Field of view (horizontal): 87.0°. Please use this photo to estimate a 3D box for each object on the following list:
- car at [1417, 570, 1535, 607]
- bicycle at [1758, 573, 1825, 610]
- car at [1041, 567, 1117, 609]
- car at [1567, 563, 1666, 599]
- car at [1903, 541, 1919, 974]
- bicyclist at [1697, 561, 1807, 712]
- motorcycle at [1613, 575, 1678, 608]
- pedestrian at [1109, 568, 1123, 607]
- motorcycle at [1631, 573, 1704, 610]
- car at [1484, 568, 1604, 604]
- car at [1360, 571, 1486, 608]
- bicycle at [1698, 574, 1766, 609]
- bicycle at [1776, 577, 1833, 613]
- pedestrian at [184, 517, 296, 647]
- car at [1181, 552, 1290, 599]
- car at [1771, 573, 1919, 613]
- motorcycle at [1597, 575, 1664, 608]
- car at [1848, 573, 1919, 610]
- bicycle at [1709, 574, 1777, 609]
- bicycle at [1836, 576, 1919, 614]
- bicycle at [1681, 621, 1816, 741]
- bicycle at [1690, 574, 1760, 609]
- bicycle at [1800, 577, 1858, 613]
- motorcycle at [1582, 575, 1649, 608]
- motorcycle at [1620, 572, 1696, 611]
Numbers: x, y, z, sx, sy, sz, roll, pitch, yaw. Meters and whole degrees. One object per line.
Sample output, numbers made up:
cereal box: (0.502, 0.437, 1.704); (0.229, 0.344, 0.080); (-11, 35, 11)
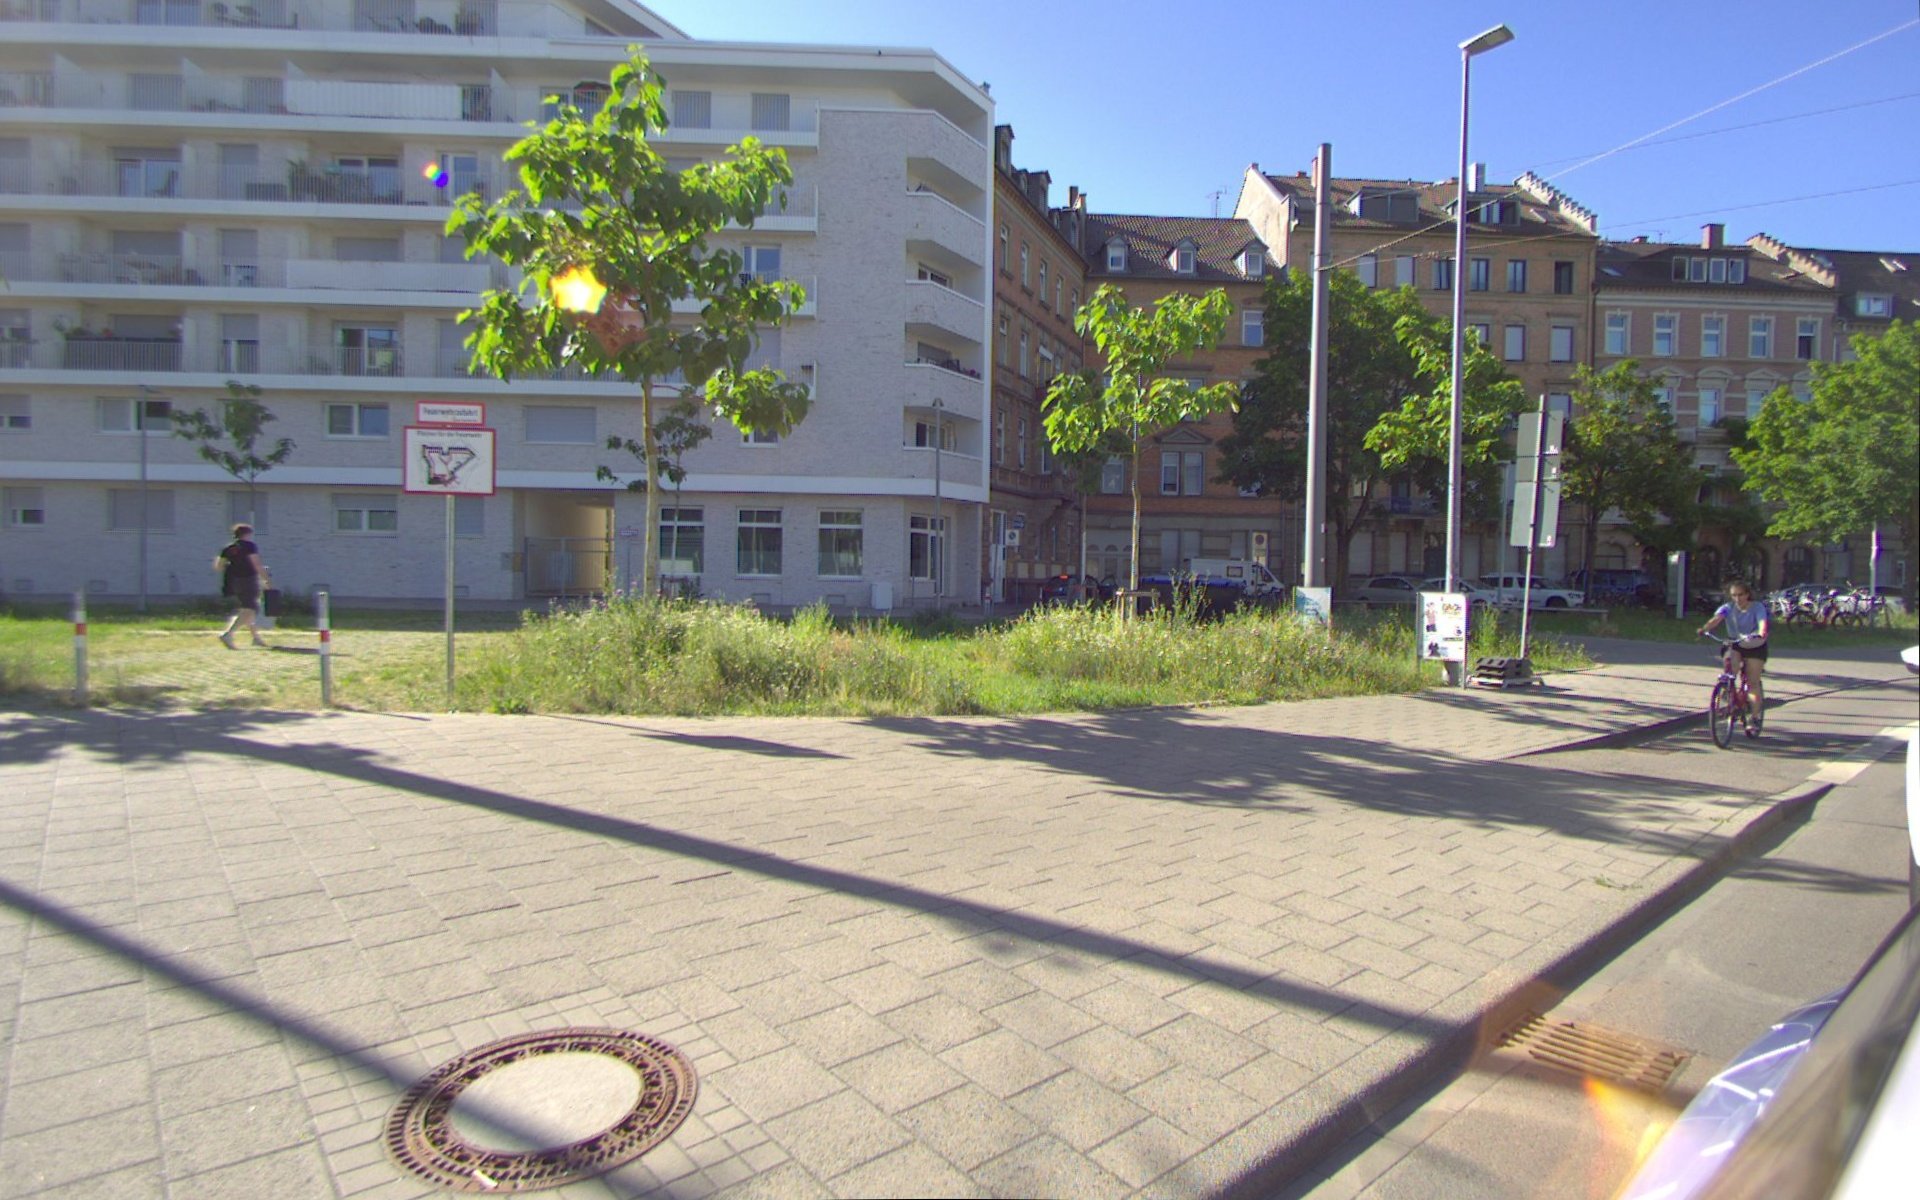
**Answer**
car: (19.671, -0.472, 38.721); (1.648, 1.267, 3.709); (0, 3, -28)
bicycle: (29.273, -0.296, 35.677); (0.651, 1.284, 2.202); (0, 0, 4)
car: (4.565, -0.509, 38.301); (1.811, 1.444, 4.359); (1, 2, 21)
car: (30.874, -0.925, 47.653); (3.631, 1.607, 1.552); (1, 2, 0)
car: (5.868, 0.604, 4.719); (4.323, 1.667, 1.840); (0, 0, -43)
bicyclist: (8.052, 0.341, 10.289); (0.923, 1.454, 0.668); (0, 1, -39)
motorcycle: (27.487, -0.339, 40.614); (0.649, 1.284, 2.209); (0, 0, -18)
pedestrian: (5.862, -0.465, 38.031); (0.500, 1.474, 0.480); (0, 0, 11)
motorcycle: (26.153, -0.325, 37.472); (0.649, 1.339, 2.208); (0, 0, -23)
car: (22.327, -0.582, 38.776); (1.513, 1.267, 3.700); (-1, 3, -39)
car: (17.348, -0.426, 38.110); (1.648, 1.267, 4.170); (0, 3, -28)
bicycle: (29.079, -0.324, 38.155); (0.649, 1.284, 2.208); (0, 0, -9)
bicycle: (30.939, -0.189, 37.114); (0.653, 1.284, 2.196); (0, 0, 12)
pedestrian: (-10.040, -0.263, 14.140); (0.829, 1.717, 0.985); (2, 2, 2)
car: (12.659, -1.158, 46.786); (4.416, 2.062, 2.054); (1, 2, 0)
car: (34.684, -0.325, 39.596); (1.651, 1.423, 4.324); (-1, 3, -38)
motorcycle: (26.696, -0.340, 40.360); (0.649, 1.300, 2.324); (0, 0, -18)
car: (37.821, -0.334, 39.965); (1.649, 1.423, 3.832); (-1, 3, -32)
bicycle: (29.722, -0.330, 38.466); (0.649, 1.284, 2.208); (0, 0, -9)
bicycle: (31.628, -0.171, 34.766); (2.180, 1.284, 0.657); (0, 0, 25)
bicycle: (8.083, 0.779, 10.349); (1.787, 1.085, 0.668); (0, 1, -39)
bicycle: (28.368, -0.314, 37.568); (0.649, 1.284, 2.208); (0, 0, -11)
bicycle: (32.034, -0.197, 37.337); (0.653, 1.284, 2.196); (0, 0, 12)
motorcycle: (26.025, -0.332, 40.229); (0.649, 1.293, 2.324); (0, 0, -18)
motorcycle: (25.337, -0.310, 36.783); (0.650, 1.347, 2.207); (0, 0, -28)
